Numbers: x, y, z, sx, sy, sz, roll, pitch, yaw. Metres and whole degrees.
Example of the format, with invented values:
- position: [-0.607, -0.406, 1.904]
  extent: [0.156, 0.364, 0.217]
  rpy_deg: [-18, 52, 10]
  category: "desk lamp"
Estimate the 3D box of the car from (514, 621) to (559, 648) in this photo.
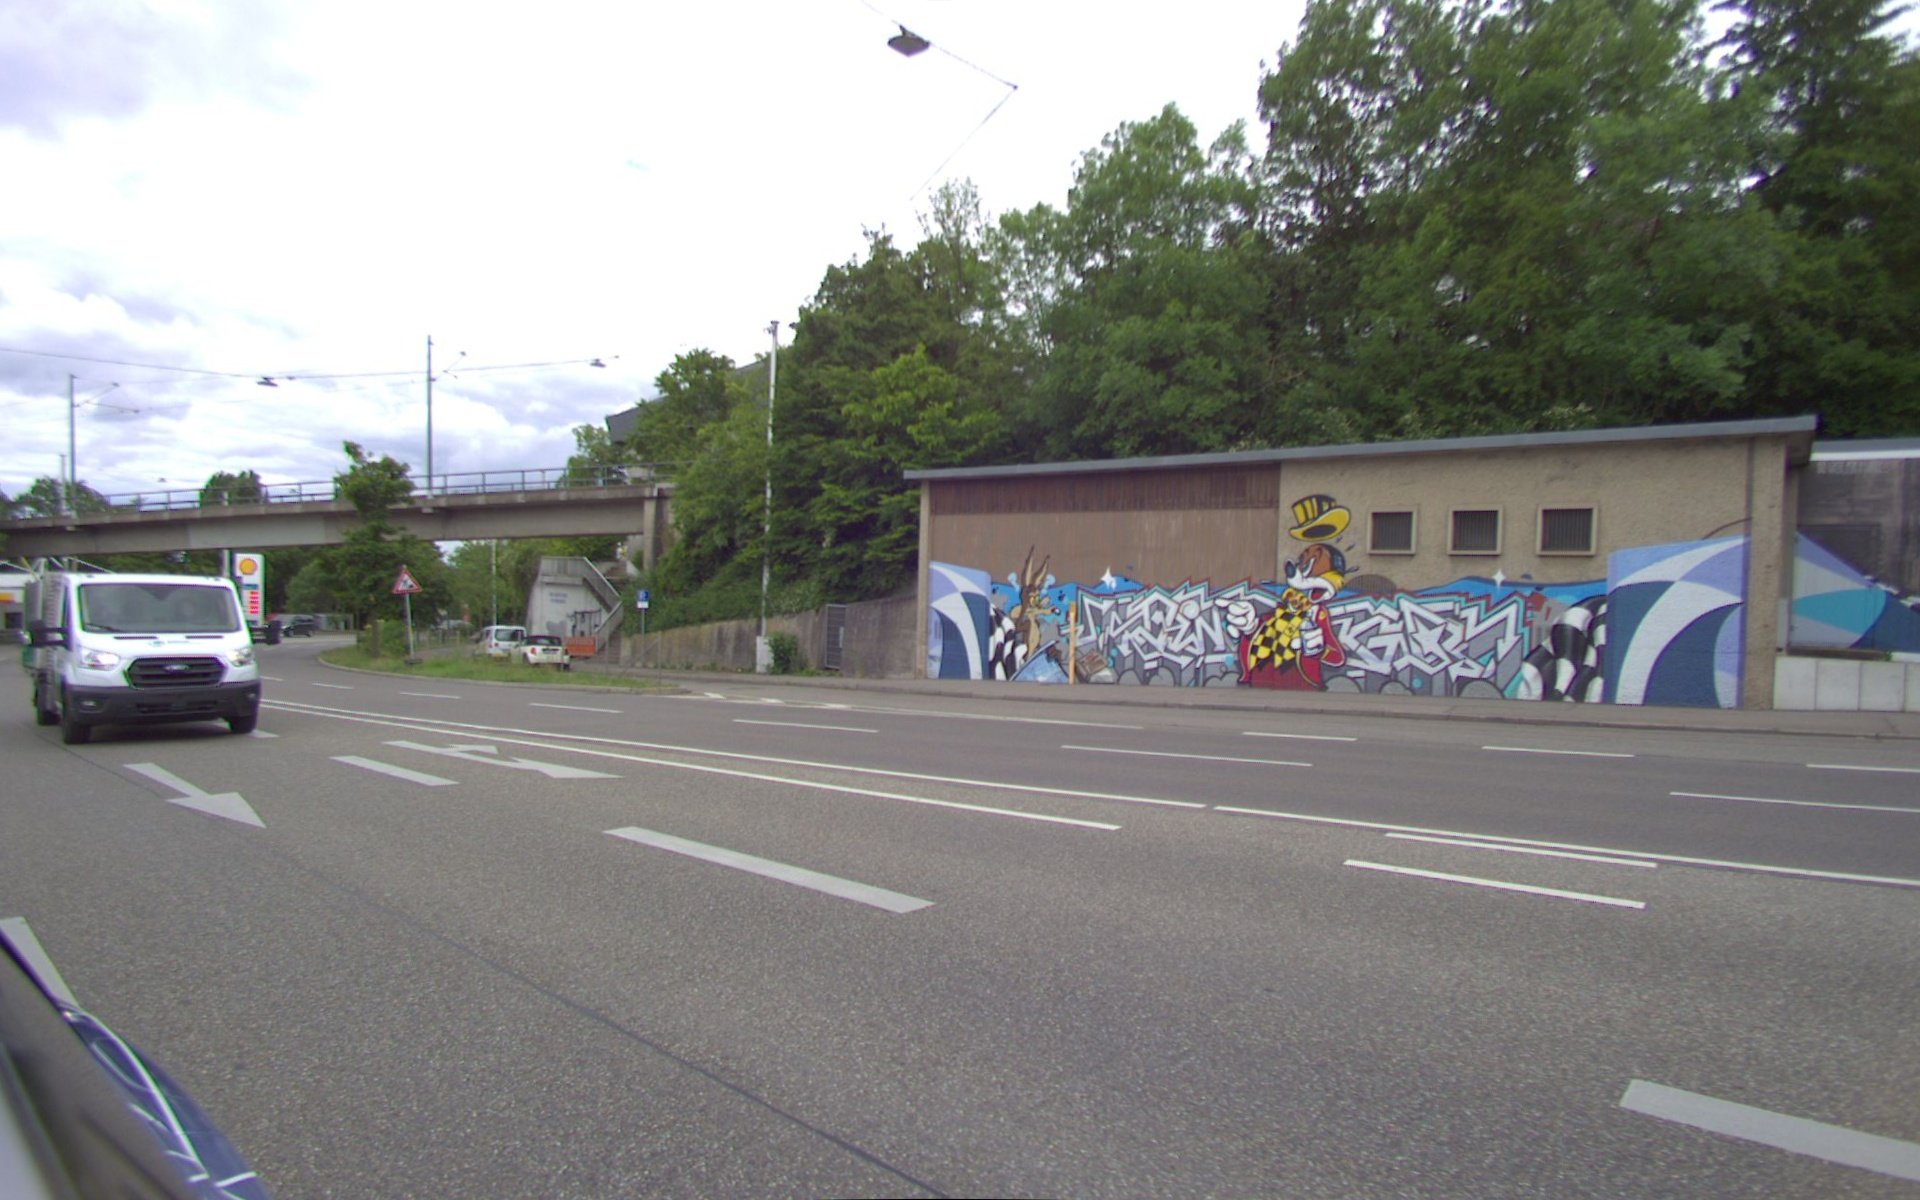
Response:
- position: [-39.303, 3.210, 94.054]
  extent: [2.239, 2.290, 6.337]
  rpy_deg: [2, -2, -8]
  category: "car"

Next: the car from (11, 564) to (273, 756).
- position: [-11.847, 0.744, 14.439]
  extent: [6.268, 2.190, 1.972]
  rpy_deg: [-1, -2, 43]
  category: "car"

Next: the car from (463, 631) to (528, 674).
- position: [-21.212, 2.351, 46.098]
  extent: [1.743, 1.799, 4.475]
  rpy_deg: [5, -4, -36]
  category: "car"

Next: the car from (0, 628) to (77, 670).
- position: [-33.922, 1.767, 37.120]
  extent: [3.997, 1.422, 1.712]
  rpy_deg: [-1, -3, 40]
  category: "car"

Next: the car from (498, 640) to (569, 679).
- position: [-17.253, 2.376, 40.841]
  extent: [1.743, 1.430, 3.812]
  rpy_deg: [3, -3, -36]
  category: "car"

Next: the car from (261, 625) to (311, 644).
- position: [-55.384, 2.860, 83.268]
  extent: [1.704, 1.489, 4.004]
  rpy_deg: [1, -2, -5]
  category: "car"
